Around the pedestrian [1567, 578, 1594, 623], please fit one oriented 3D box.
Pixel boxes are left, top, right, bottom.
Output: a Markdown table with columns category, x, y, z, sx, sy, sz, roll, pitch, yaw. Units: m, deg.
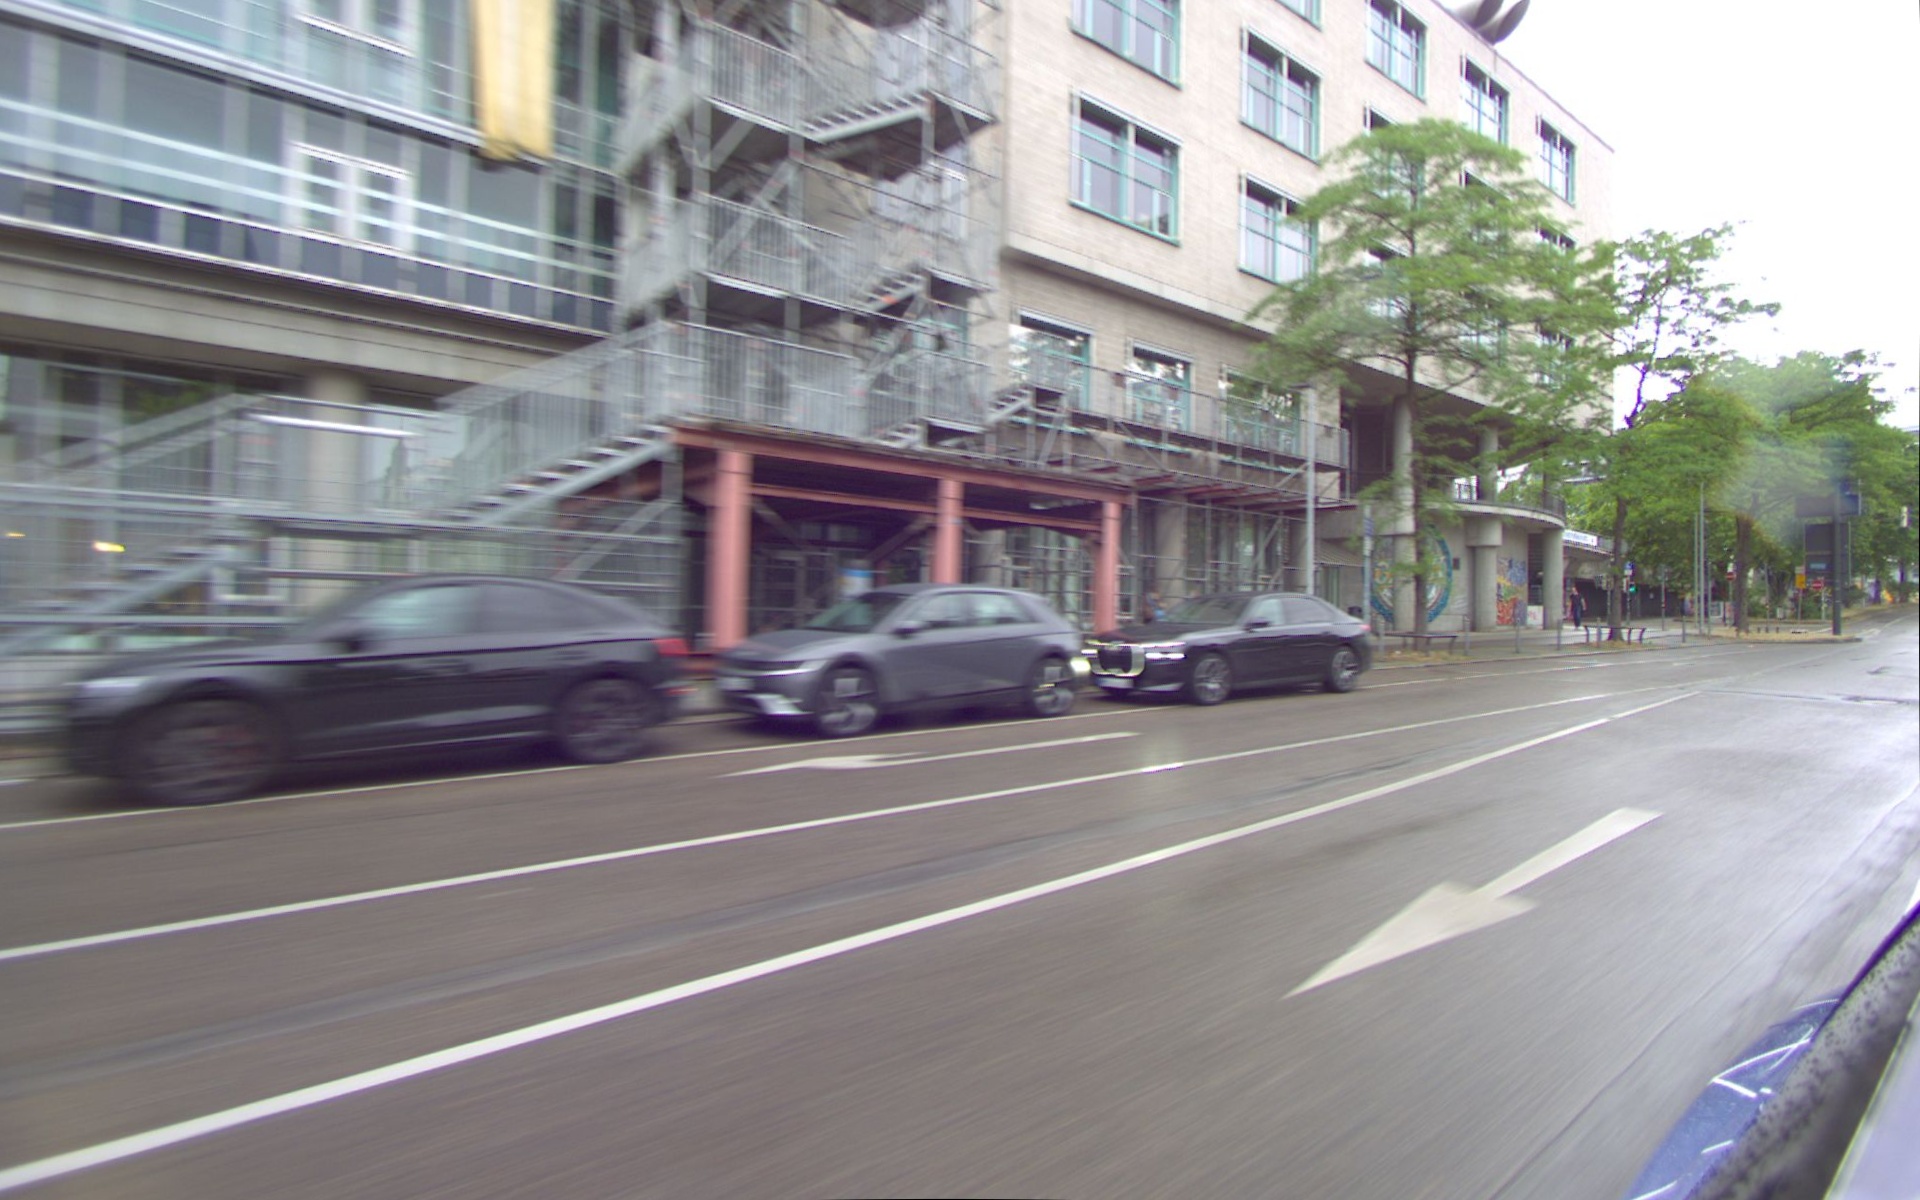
| category | x | y | z | sx | sy | sz | roll | pitch | yaw |
| --- | --- | --- | --- | --- | --- | --- | --- | --- | --- |
| pedestrian | 28.019 | 0.018 | 45.674 | 0.746 | 2.039 | 0.869 | 0 | 0 | -44 |

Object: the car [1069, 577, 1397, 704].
| category | x | y | z | sx | sy | sz | roll | pitch | yaw |
| --- | --- | --- | --- | --- | --- | --- | --- | --- | --- |
| car | 4.230 | 0.503 | 15.239 | 5.190 | 1.621 | 1.999 | 0 | 0 | -37 |

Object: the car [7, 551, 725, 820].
| category | x | y | z | sx | sy | sz | roll | pitch | yaw |
| --- | --- | --- | --- | --- | --- | --- | --- | --- | --- |
| car | -4.632 | 0.518 | 8.547 | 4.773 | 1.667 | 1.999 | 0 | 0 | -38 |

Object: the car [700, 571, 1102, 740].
| category | x | y | z | sx | sy | sz | roll | pitch | yaw |
| --- | --- | --- | --- | --- | --- | --- | --- | --- | --- |
| car | -0.547 | 0.516 | 11.891 | 4.511 | 1.621 | 1.865 | 0 | 0 | -40 |

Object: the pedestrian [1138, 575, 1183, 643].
| category | x | y | z | sx | sy | sz | roll | pitch | yaw |
| --- | --- | --- | --- | --- | --- | --- | --- | --- | --- |
| pedestrian | 4.920 | 0.211 | 24.823 | 0.907 | 1.616 | 0.705 | 0 | 0 | -42 |

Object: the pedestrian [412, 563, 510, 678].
| category | x | y | z | sx | sy | sz | roll | pitch | yaw |
| --- | --- | --- | --- | --- | --- | --- | --- | --- | --- |
| pedestrian | -7.342 | 0.280 | 14.898 | 1.095 | 1.616 | 0.819 | 0 | 0 | -44 |
